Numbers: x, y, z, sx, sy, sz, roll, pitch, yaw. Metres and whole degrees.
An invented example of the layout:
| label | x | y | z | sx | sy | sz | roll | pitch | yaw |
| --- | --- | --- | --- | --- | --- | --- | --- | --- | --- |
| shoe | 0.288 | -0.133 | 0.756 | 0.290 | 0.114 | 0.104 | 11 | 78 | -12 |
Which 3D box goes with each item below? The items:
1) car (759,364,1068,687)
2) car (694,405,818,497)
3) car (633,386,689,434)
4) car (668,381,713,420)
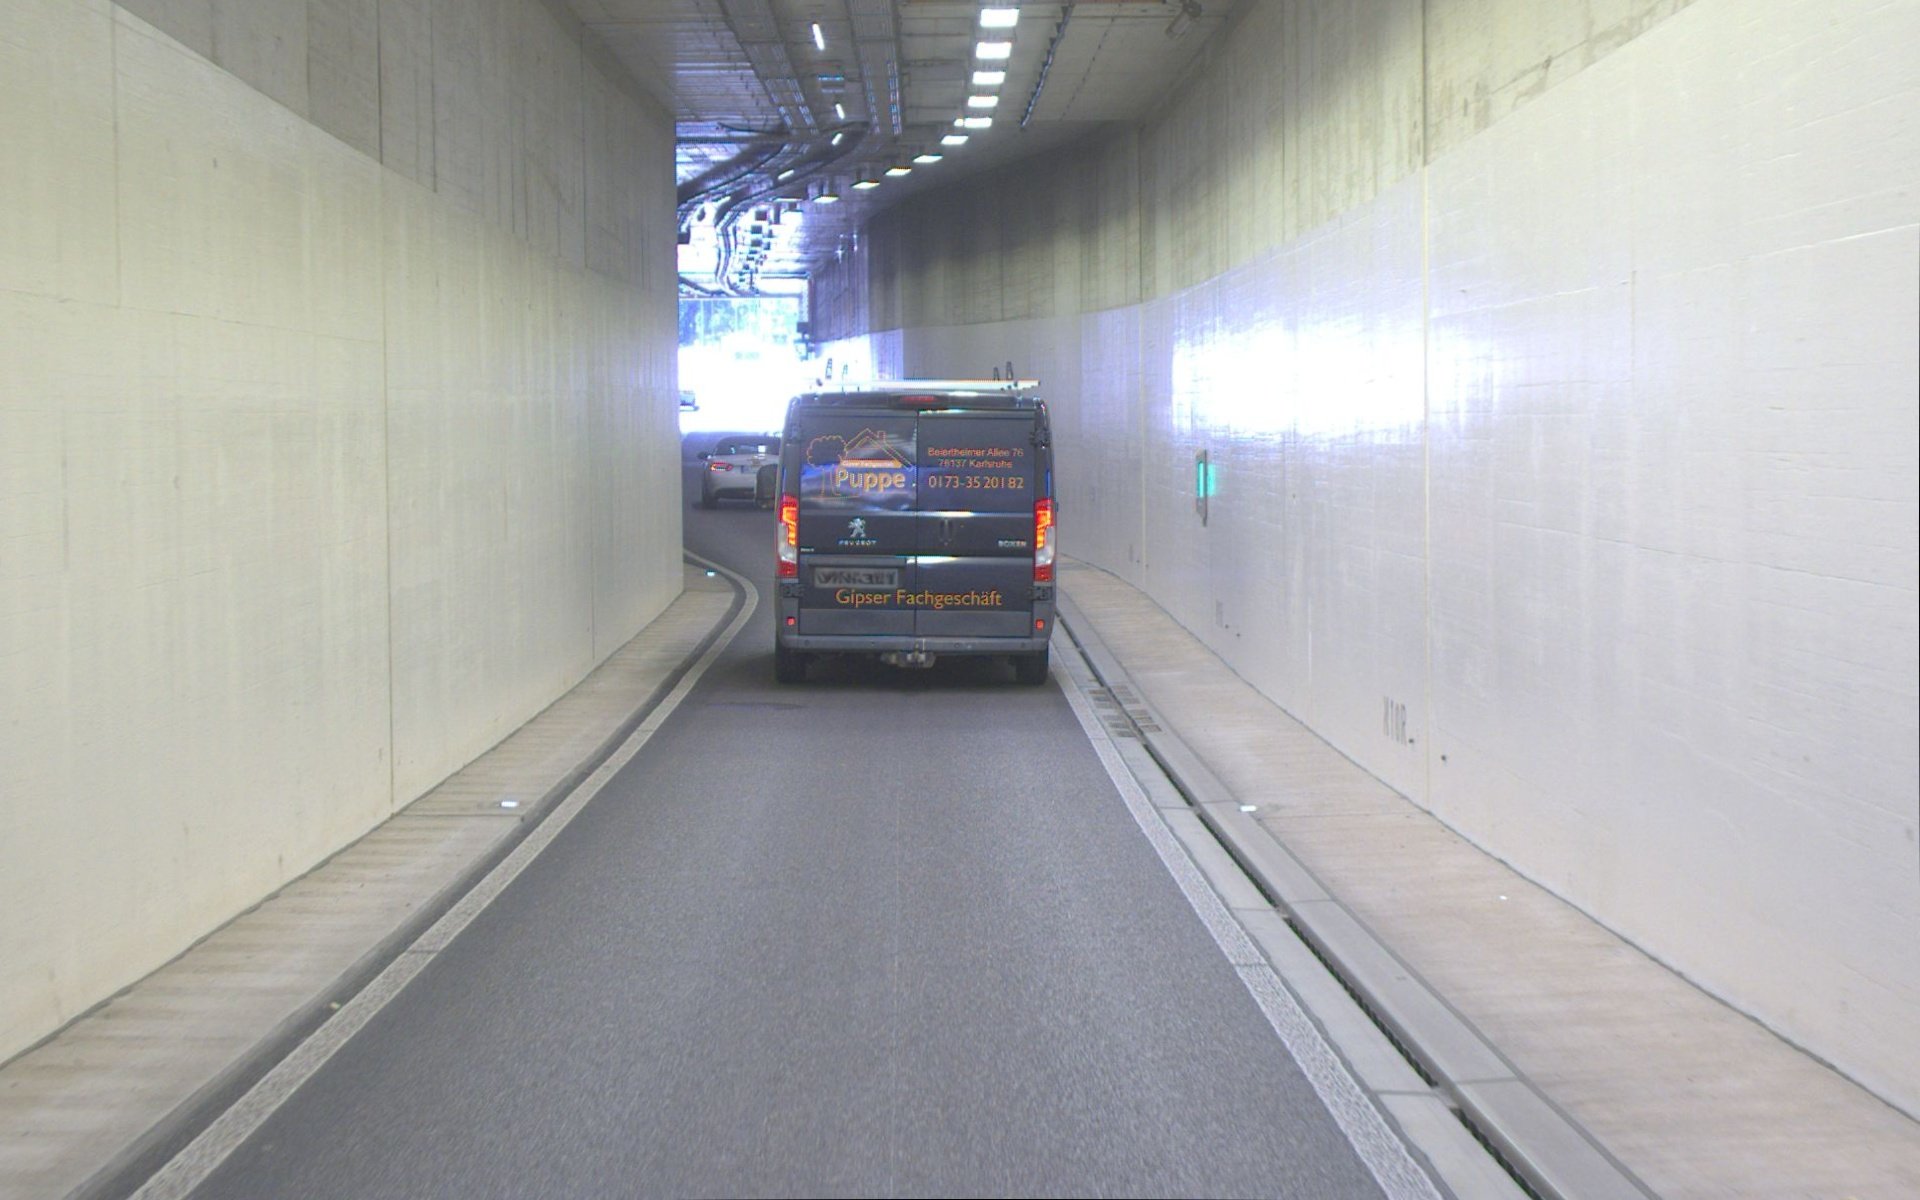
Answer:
| label | x | y | z | sx | sy | sz | roll | pitch | yaw |
| --- | --- | --- | --- | --- | --- | --- | --- | --- | --- |
| car | -0.349 | -0.660 | 26.557 | 2.158 | 2.258 | 4.638 | 1 | 3 | 0 |
| car | -3.539 | -2.648 | 60.421 | 2.085 | 1.508 | 4.638 | 0 | 4 | -2 |
| car | -10.504 | -6.651 | 120.664 | 1.876 | 1.619 | 4.222 | 1 | 3 | -5 |
| car | -11.661 | -8.625 | 148.548 | 1.876 | 1.619 | 4.222 | 1 | 3 | -5 |
